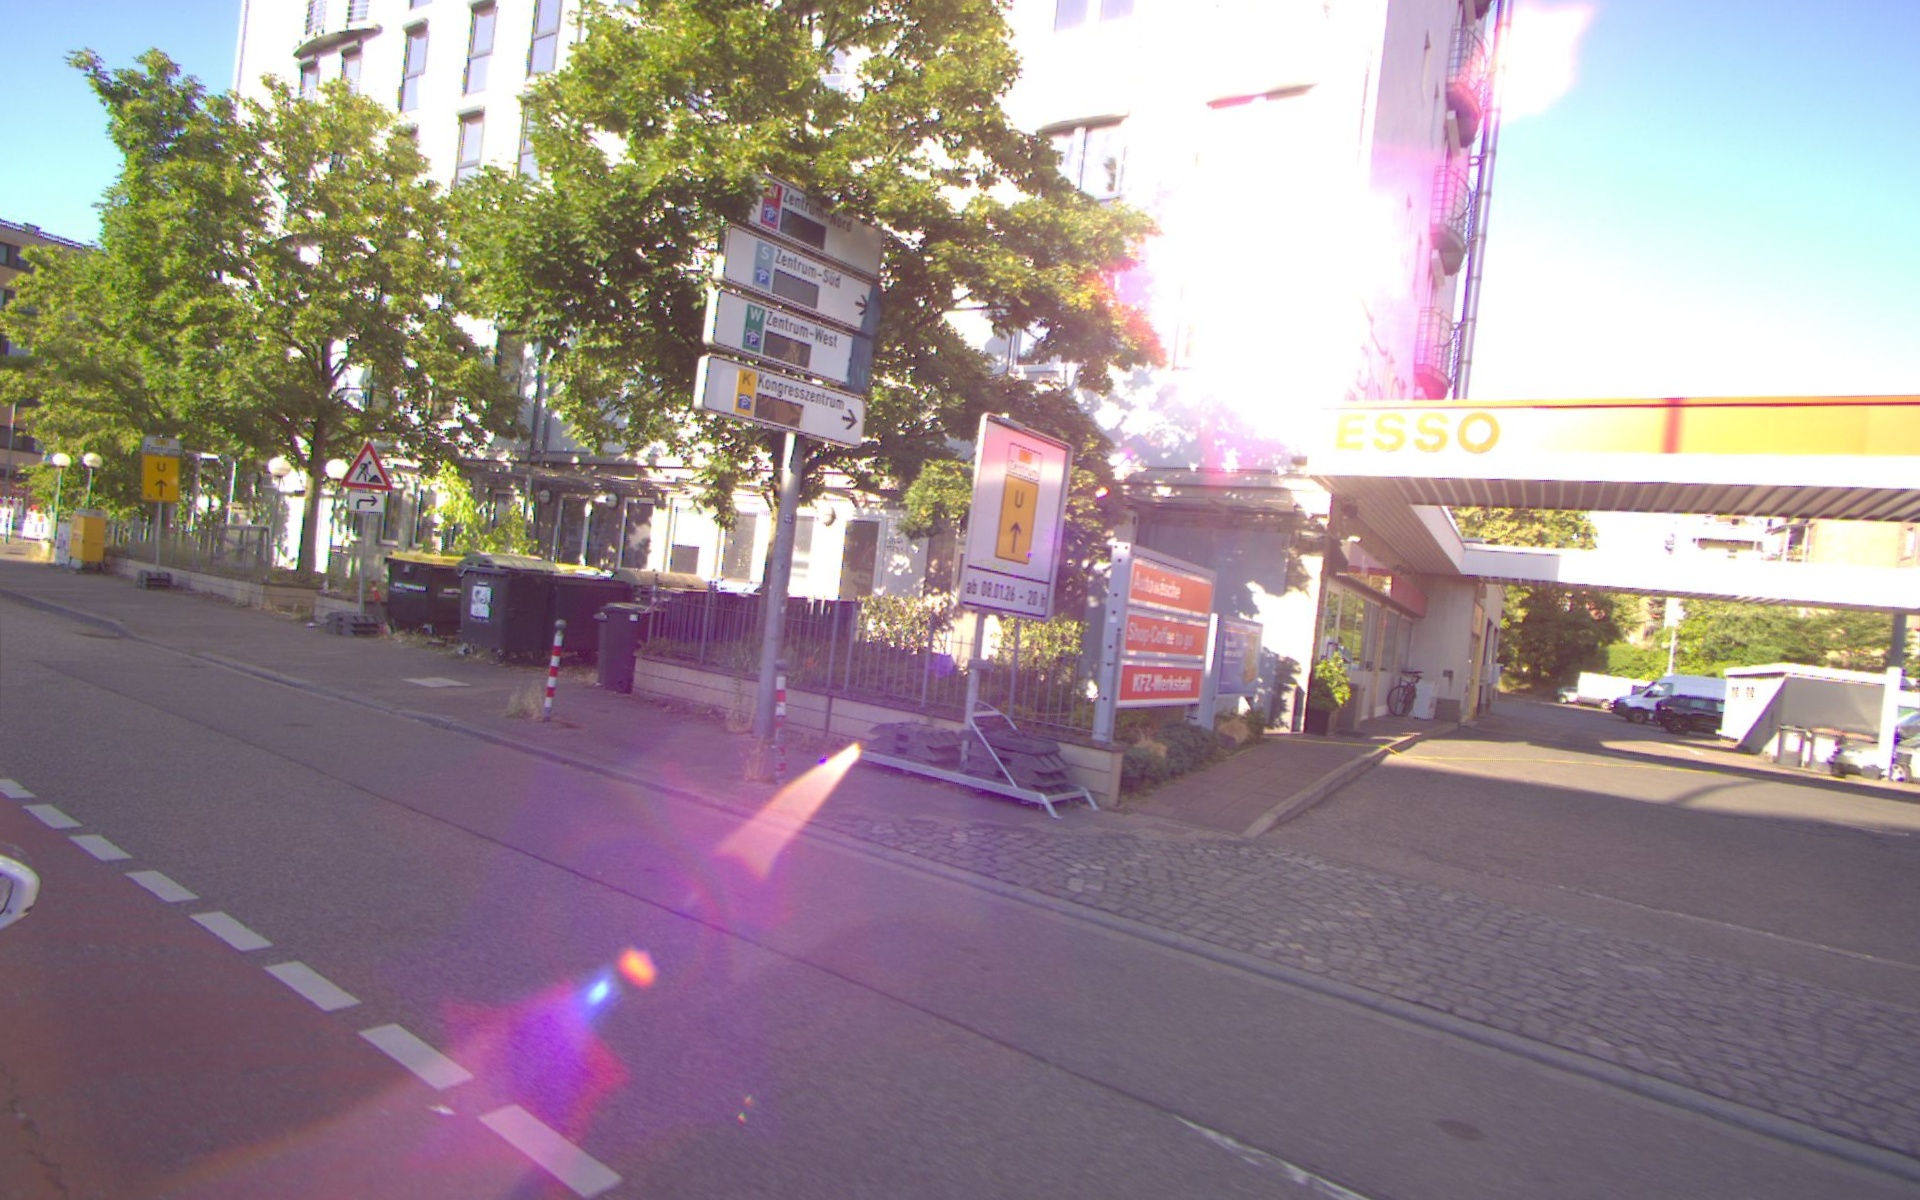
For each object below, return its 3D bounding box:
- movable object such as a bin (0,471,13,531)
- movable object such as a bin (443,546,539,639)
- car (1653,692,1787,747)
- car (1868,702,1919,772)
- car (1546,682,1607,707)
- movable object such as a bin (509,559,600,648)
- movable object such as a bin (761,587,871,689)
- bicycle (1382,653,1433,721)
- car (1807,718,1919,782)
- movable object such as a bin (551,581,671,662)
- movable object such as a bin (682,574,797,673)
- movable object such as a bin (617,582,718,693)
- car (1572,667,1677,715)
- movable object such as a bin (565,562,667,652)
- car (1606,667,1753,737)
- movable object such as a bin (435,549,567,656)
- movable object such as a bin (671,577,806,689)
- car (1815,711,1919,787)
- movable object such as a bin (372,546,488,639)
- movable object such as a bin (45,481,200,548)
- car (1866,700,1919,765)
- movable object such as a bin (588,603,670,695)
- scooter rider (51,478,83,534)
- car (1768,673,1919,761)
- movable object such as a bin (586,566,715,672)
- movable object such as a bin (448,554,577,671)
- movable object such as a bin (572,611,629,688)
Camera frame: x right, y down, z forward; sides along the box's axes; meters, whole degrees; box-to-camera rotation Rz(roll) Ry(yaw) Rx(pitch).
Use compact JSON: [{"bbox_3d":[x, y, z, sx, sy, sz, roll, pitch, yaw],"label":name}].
[{"bbox_3d":[-41.092,-4.284,40.918,1.504,2.412,3.332,6,0,33],"label":"movable object such as a bin"},{"bbox_3d":[-8.389,-0.128,18.006,0.941,1.503,1.104,7,0,33],"label":"movable object such as a bin"},{"bbox_3d":[30.054,4.703,39.933,3.934,1.526,1.692,6,0,32],"label":"car"},{"bbox_3d":[28.780,4.115,28.390,4.225,1.867,1.996,6,0,32],"label":"car"},{"bbox_3d":[50.347,7.700,82.268,4.024,1.400,1.710,6,0,29],"label":"car"},{"bbox_3d":[-7.610,0.074,18.923,0.941,1.503,1.127,7,0,34],"label":"movable object such as a bin"},{"bbox_3d":[-2.207,0.602,15.552,0.851,1.428,1.406,7,1,32],"label":"movable object such as a bin"},{"bbox_3d":[9.689,1.871,21.717,0.518,1.330,2.807,7,0,31],"label":"bicycle"},{"bbox_3d":[25.749,4.186,27.068,4.187,1.312,1.747,6,0,33],"label":"car"},{"bbox_3d":[-5.666,0.359,16.382,1.008,1.142,1.420,6,0,35],"label":"movable object such as a bin"},{"bbox_3d":[-3.616,0.392,16.544,1.259,1.440,1.194,8,2,36],"label":"movable object such as a bin"},{"bbox_3d":[-3.803,0.498,13.112,0.851,1.325,0.778,7,0,32],"label":"movable object such as a bin"},{"bbox_3d":[51.800,7.090,78.644,6.369,2.842,2.439,6,0,29],"label":"car"},{"bbox_3d":[-6.351,0.143,18.627,1.000,1.503,1.327,6,0,33],"label":"movable object such as a bin"},{"bbox_3d":[34.394,4.841,48.288,5.395,2.524,1.692,6,0,32],"label":"car"},{"bbox_3d":[-7.241,0.055,15.918,1.189,1.503,1.330,6,0,24],"label":"movable object such as a bin"},{"bbox_3d":[-3.109,0.496,14.256,0.851,1.427,1.609,7,0,32],"label":"movable object such as a bin"},{"bbox_3d":[22.352,3.564,22.814,4.187,1.437,1.747,6,0,33],"label":"car"},{"bbox_3d":[-8.752,-0.101,16.655,1.035,1.360,1.218,6,0,18],"label":"movable object such as a bin"},{"bbox_3d":[-42.282,-4.270,50.919,2.506,2.520,5.357,6,-1,31],"label":"movable object such as a bin"},{"bbox_3d":[31.390,4.371,31.344,4.225,1.867,1.996,6,0,32],"label":"car"},{"bbox_3d":[-4.080,0.608,12.408,0.607,1.059,0.619,7,0,36],"label":"movable object such as a bin"},{"bbox_3d":[-30.657,-3.228,34.539,0.611,1.812,0.482,6,0,-35],"label":"scooter rider"},{"bbox_3d":[32.738,4.234,35.447,6.197,2.532,1.996,6,0,30],"label":"car"},{"bbox_3d":[-4.773,0.300,15.539,1.260,1.452,1.307,8,2,38],"label":"movable object such as a bin"},{"bbox_3d":[-6.348,0.177,14.284,1.234,1.526,1.093,3,-2,34],"label":"movable object such as a bin"},{"bbox_3d":[-4.598,0.631,12.868,0.483,0.918,0.393,7,0,36],"label":"movable object such as a bin"}]
